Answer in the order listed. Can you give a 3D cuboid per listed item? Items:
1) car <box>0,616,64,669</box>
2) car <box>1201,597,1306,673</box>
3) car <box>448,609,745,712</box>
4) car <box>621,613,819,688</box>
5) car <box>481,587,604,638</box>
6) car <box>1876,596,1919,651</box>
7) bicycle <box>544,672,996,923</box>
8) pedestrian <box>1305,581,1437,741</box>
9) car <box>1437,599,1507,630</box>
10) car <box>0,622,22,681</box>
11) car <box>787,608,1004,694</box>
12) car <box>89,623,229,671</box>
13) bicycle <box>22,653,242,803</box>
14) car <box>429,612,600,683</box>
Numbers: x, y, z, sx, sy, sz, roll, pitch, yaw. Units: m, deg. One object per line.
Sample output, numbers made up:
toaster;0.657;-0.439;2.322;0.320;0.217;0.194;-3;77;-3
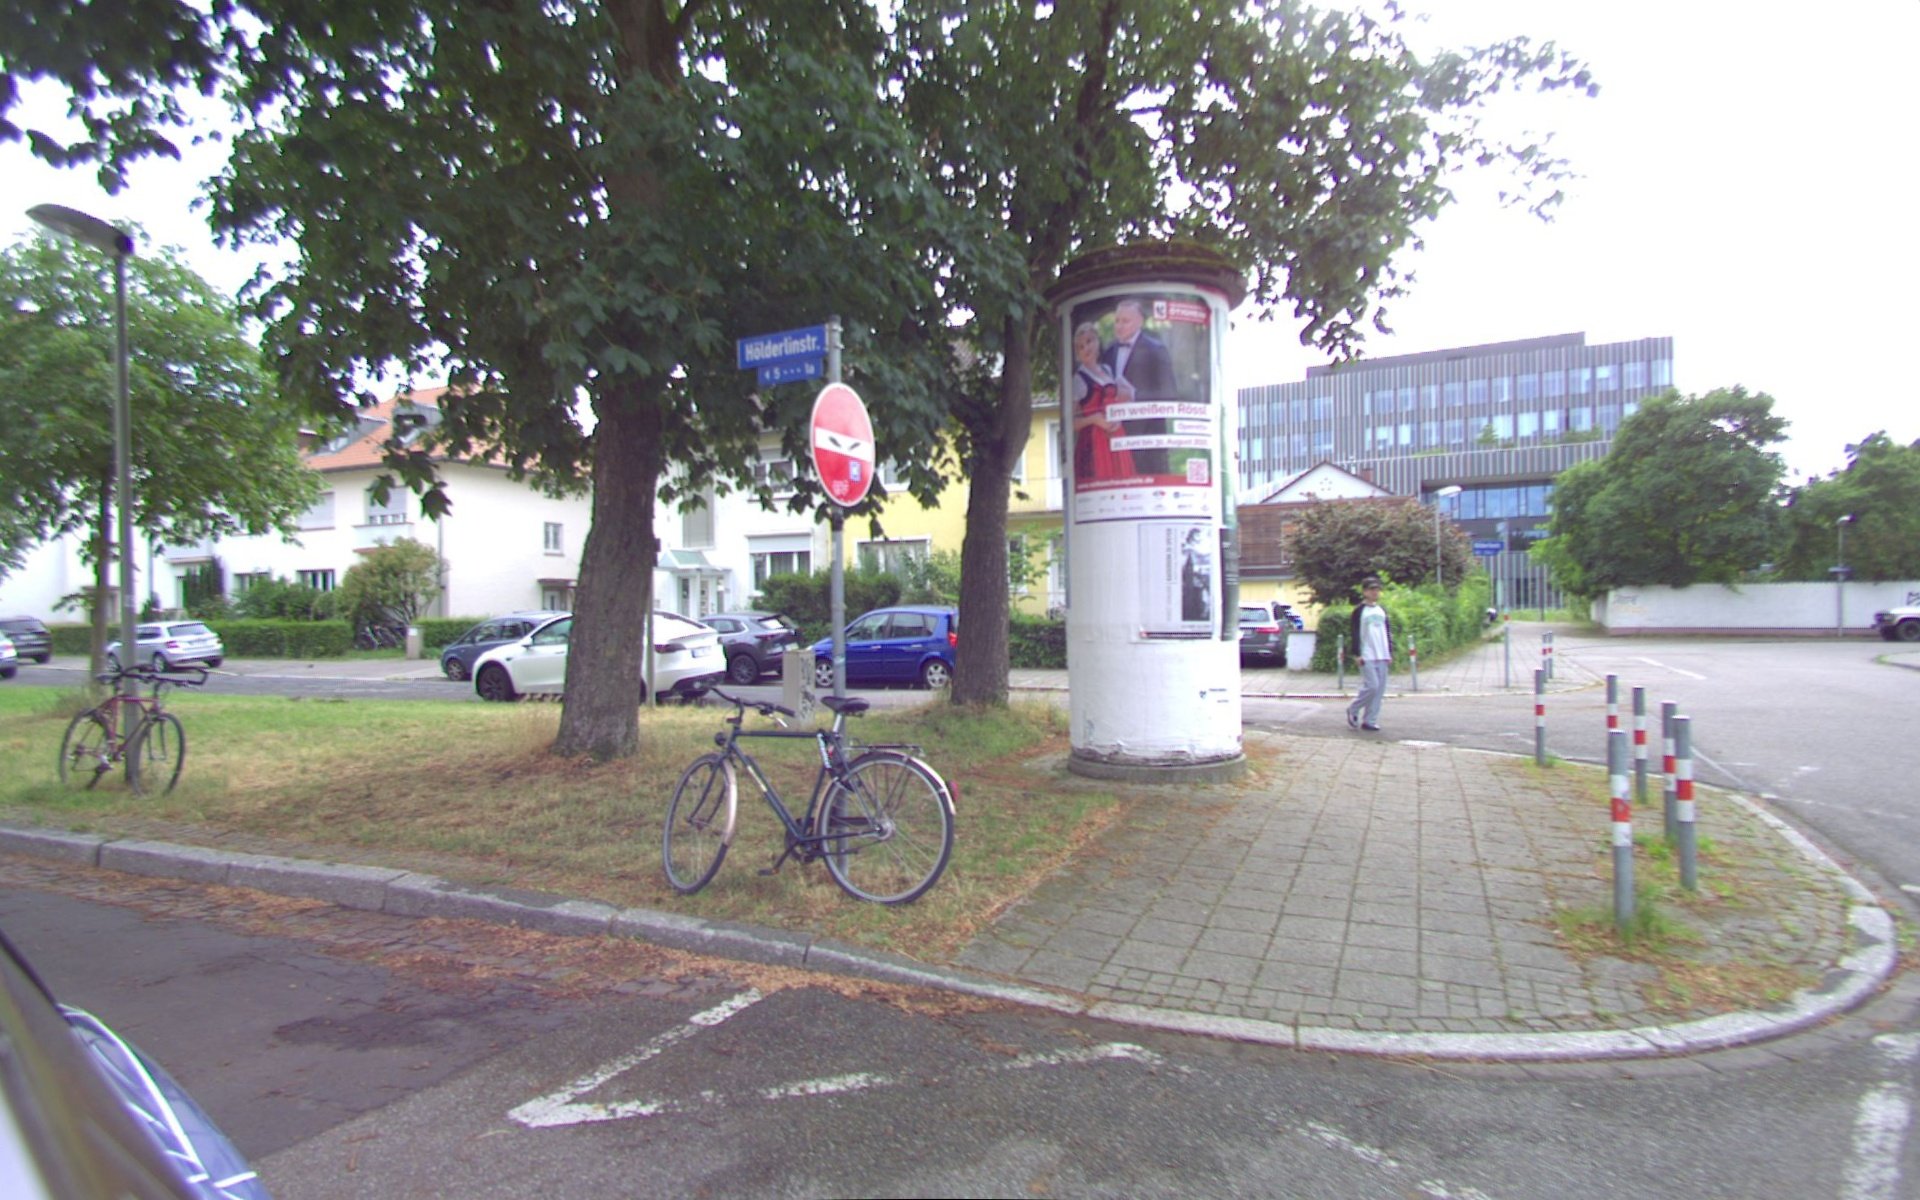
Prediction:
car;-33.823;1.477;35.663;4.075;1.686;1.791;-1;3;24
car;6.961;0.776;23.755;1.832;1.623;3.967;-1;-1;24
car;-6.255;0.975;17.358;4.853;1.578;1.888;-1;-1;24
car;-5.419;1.120;22.818;4.141;1.511;1.706;-1;1;24
car;-15.628;0.439;38.115;1.988;1.741;3.968;-1;1;24
car;35.565;0.795;35.611;4.468;1.873;1.983;-1;1;25
bicycle;-0.944;0.867;4.846;2.167;0.993;0.508;-2;1;22
pedestrian;5.027;0.717;12.442;0.863;1.850;1.223;0;-1;-22
car;33.433;0.963;66.105;3.984;1.851;1.980;-1;1;30
car;-26.699;1.364;26.437;3.982;1.499;1.791;-1;0;24
car;-1.348;1.005;20.855;4.190;1.578;1.689;-1;0;28
car;-24.700;1.431;31.211;3.917;1.365;1.791;-1;0;24
bicycle;-6.731;0.983;8.212;1.875;1.075;0.662;-1;-1;26
car;-11.161;1.178;25.373;3.859;1.613;1.707;-1;1;23
